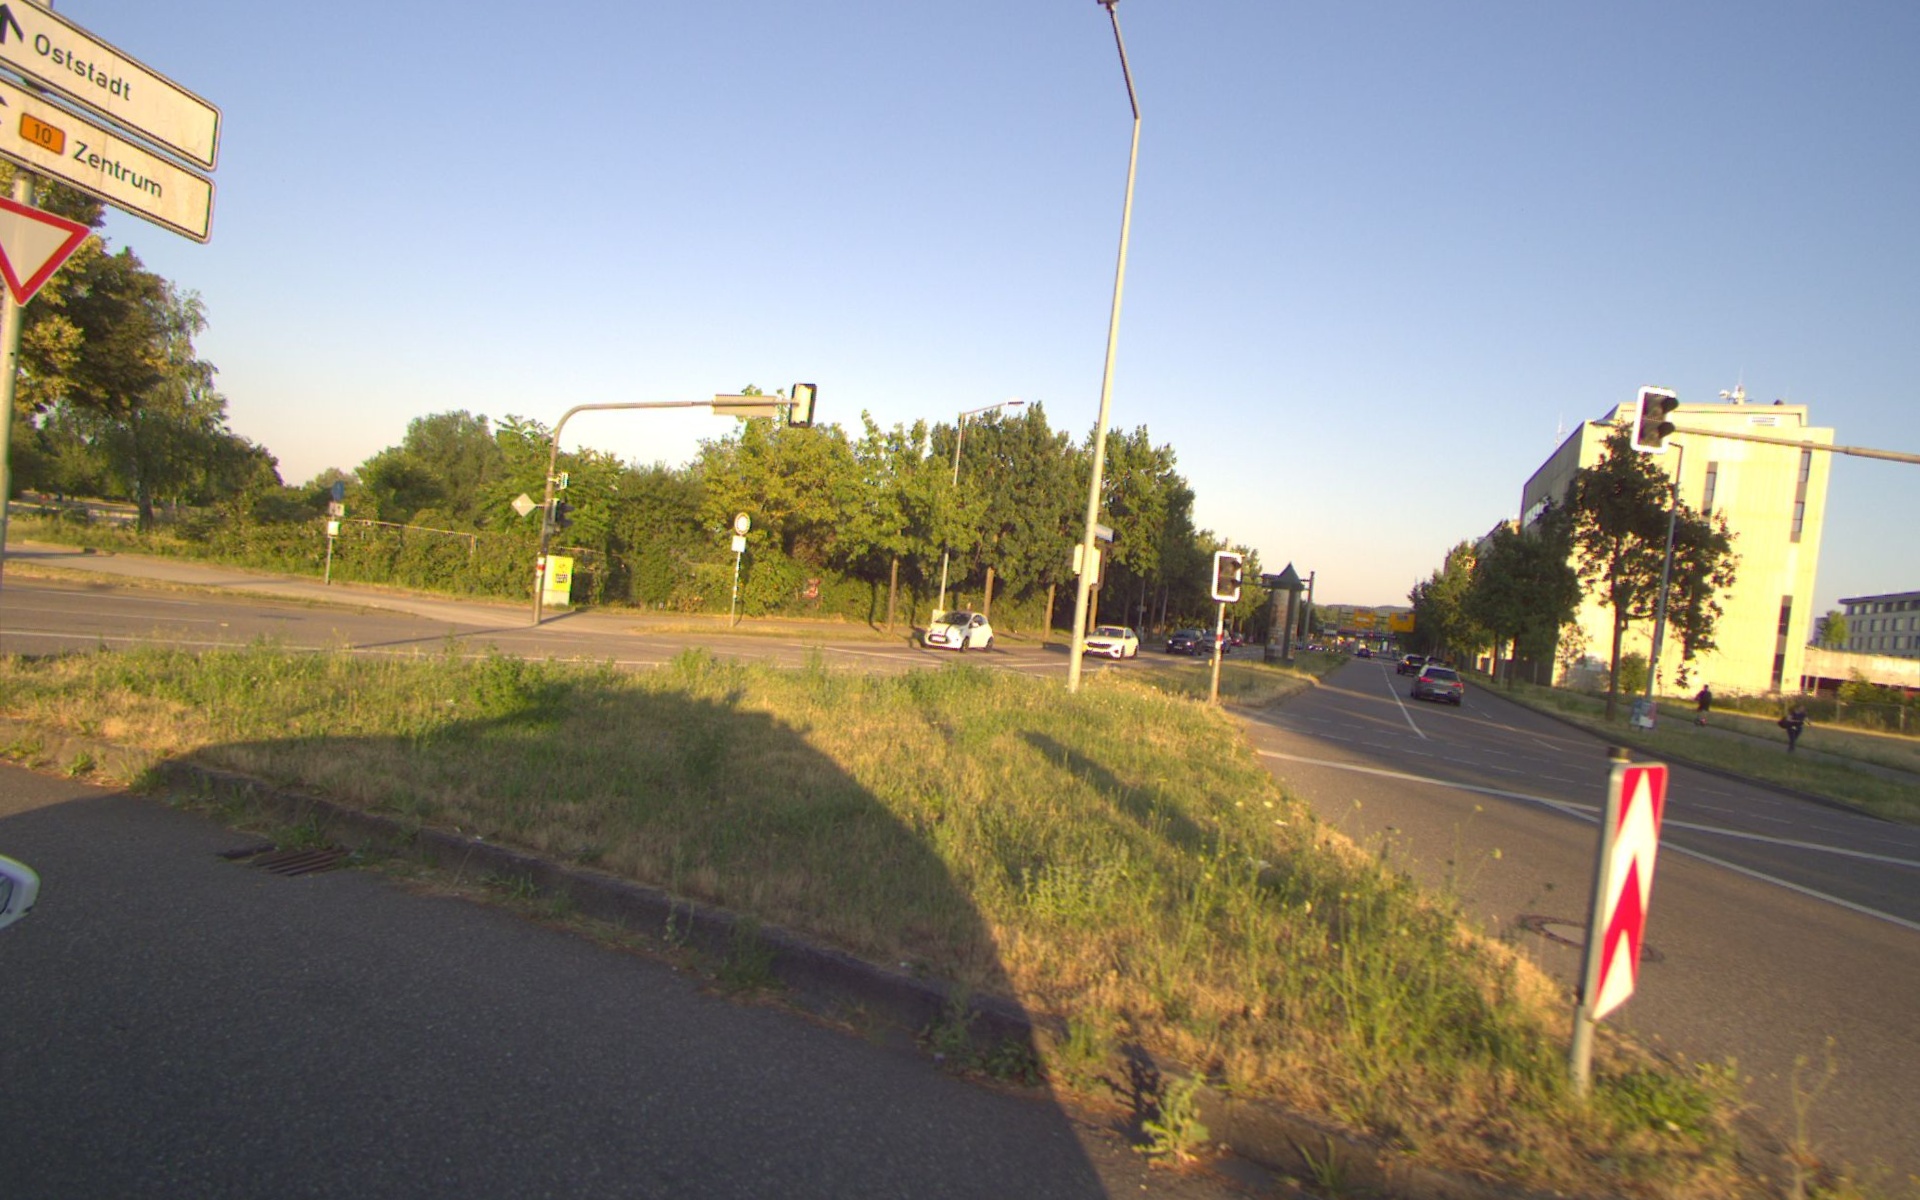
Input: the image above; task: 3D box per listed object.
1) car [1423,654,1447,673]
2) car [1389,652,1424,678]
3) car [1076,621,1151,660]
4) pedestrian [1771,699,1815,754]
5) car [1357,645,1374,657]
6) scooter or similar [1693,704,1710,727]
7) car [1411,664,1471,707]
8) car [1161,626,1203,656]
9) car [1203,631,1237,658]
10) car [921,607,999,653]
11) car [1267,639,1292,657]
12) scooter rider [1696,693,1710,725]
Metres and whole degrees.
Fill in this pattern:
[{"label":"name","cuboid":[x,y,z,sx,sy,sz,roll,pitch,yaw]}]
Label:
[{"label":"car","cuboid":[43.971,5.869,93.132,1.720,1.507,4.132,7,0,24]},{"label":"car","cuboid":[33.318,4.833,75.146,1.784,1.544,4.134,7,1,18]},{"label":"car","cuboid":[6.855,1.820,44.497,1.698,1.467,4.541,6,0,29]},{"label":"pedestrian","cuboid":[26.067,3.949,31.483,0.782,1.569,0.567,7,1,22]},{"label":"car","cuboid":[57.634,7.234,142.900,1.963,1.489,3.999,7,1,20]},{"label":"scooter or similar","cuboid":[33.205,5.158,45.048,0.242,0.925,1.038,7,1,22]},{"label":"car","cuboid":[19.645,3.428,41.001,1.722,1.442,4.126,8,1,30]},{"label":"car","cuboid":[14.155,2.611,63.939,1.770,1.653,4.455,6,-1,22]},{"label":"car","cuboid":[19.663,3.378,76.003,1.887,1.776,4.921,6,-1,20]},{"label":"car","cuboid":[0.050,1.168,37.603,1.526,1.461,3.485,6,-1,23]},{"label":"car","cuboid":[32.974,4.970,103.819,1.812,1.478,4.579,7,0,24]},{"label":"scooter rider","cuboid":[33.228,4.868,45.012,0.260,1.356,0.406,7,2,22]}]
